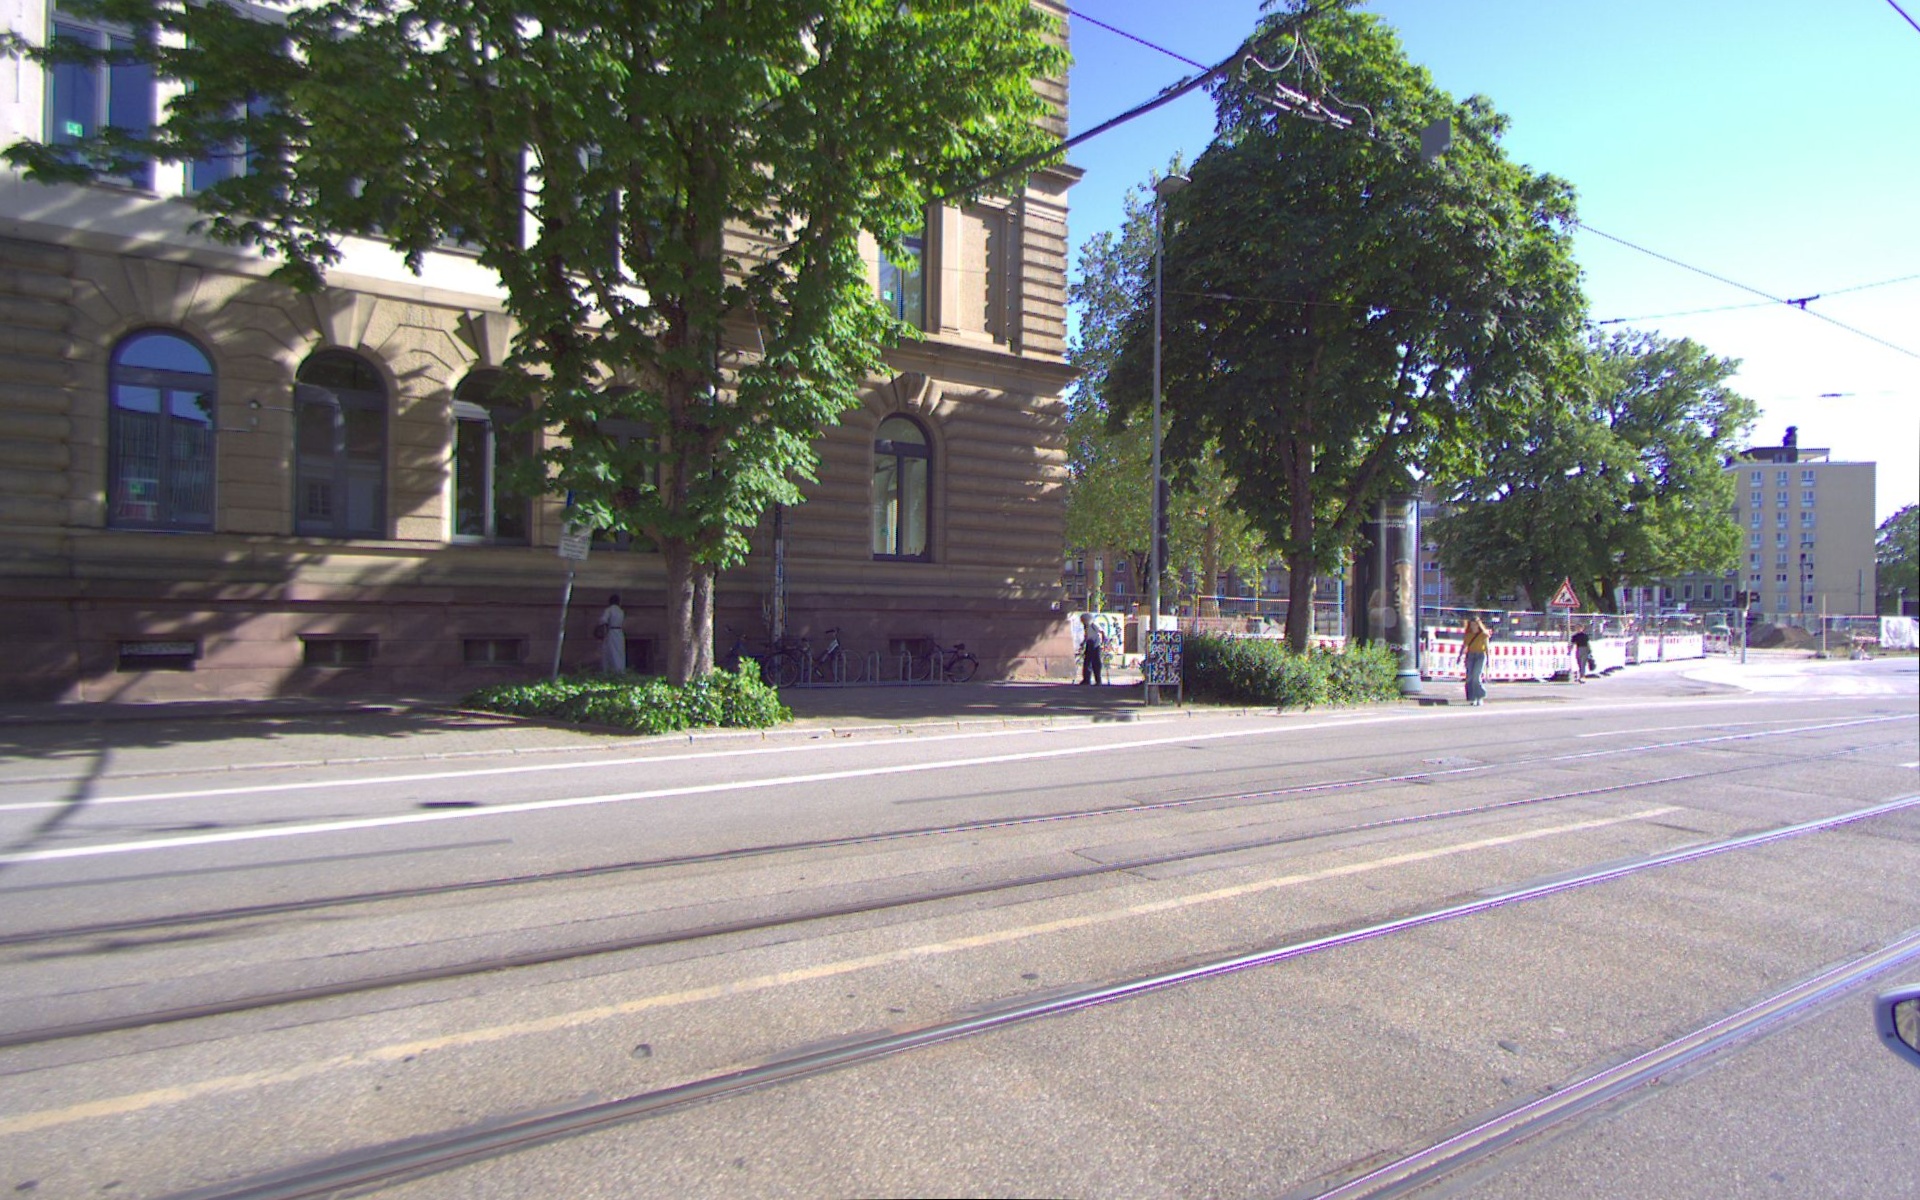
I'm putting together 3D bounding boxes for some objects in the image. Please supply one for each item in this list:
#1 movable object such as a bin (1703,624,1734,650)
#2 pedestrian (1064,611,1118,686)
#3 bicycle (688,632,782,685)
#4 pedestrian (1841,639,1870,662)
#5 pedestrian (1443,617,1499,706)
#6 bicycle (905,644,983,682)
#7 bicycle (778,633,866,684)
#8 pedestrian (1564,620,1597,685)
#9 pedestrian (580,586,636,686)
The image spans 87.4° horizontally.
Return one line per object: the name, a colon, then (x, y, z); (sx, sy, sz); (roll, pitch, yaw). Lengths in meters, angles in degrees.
movable object such as a bin: (61.619, 2.995, 81.640); (1.893, 2.040, 3.986); (0, -1, 36)
pedestrian: (2.768, 1.010, 21.251); (0.908, 1.524, 0.704); (0, -1, 33)
bicycle: (-4.108, 1.062, 18.414); (1.601, 0.929, 0.478); (2, -1, -30)
pedestrian: (43.087, 2.441, 48.311); (0.648, 1.060, 0.893); (1, -1, -30)
pedestrian: (10.114, 1.211, 19.870); (0.809, 1.719, 0.633); (1, -2, -29)
bicycle: (-0.322, 1.305, 20.852); (1.601, 0.734, 0.478); (2, -1, -30)
bicycle: (-2.650, 1.120, 19.341); (1.601, 0.929, 0.478); (2, -1, -30)
pedestrian: (17.008, 1.428, 27.517); (0.674, 1.719, 0.612); (2, -1, -44)
pedestrian: (-6.055, 0.600, 17.266); (0.751, 1.657, 0.697); (1, 2, -31)
